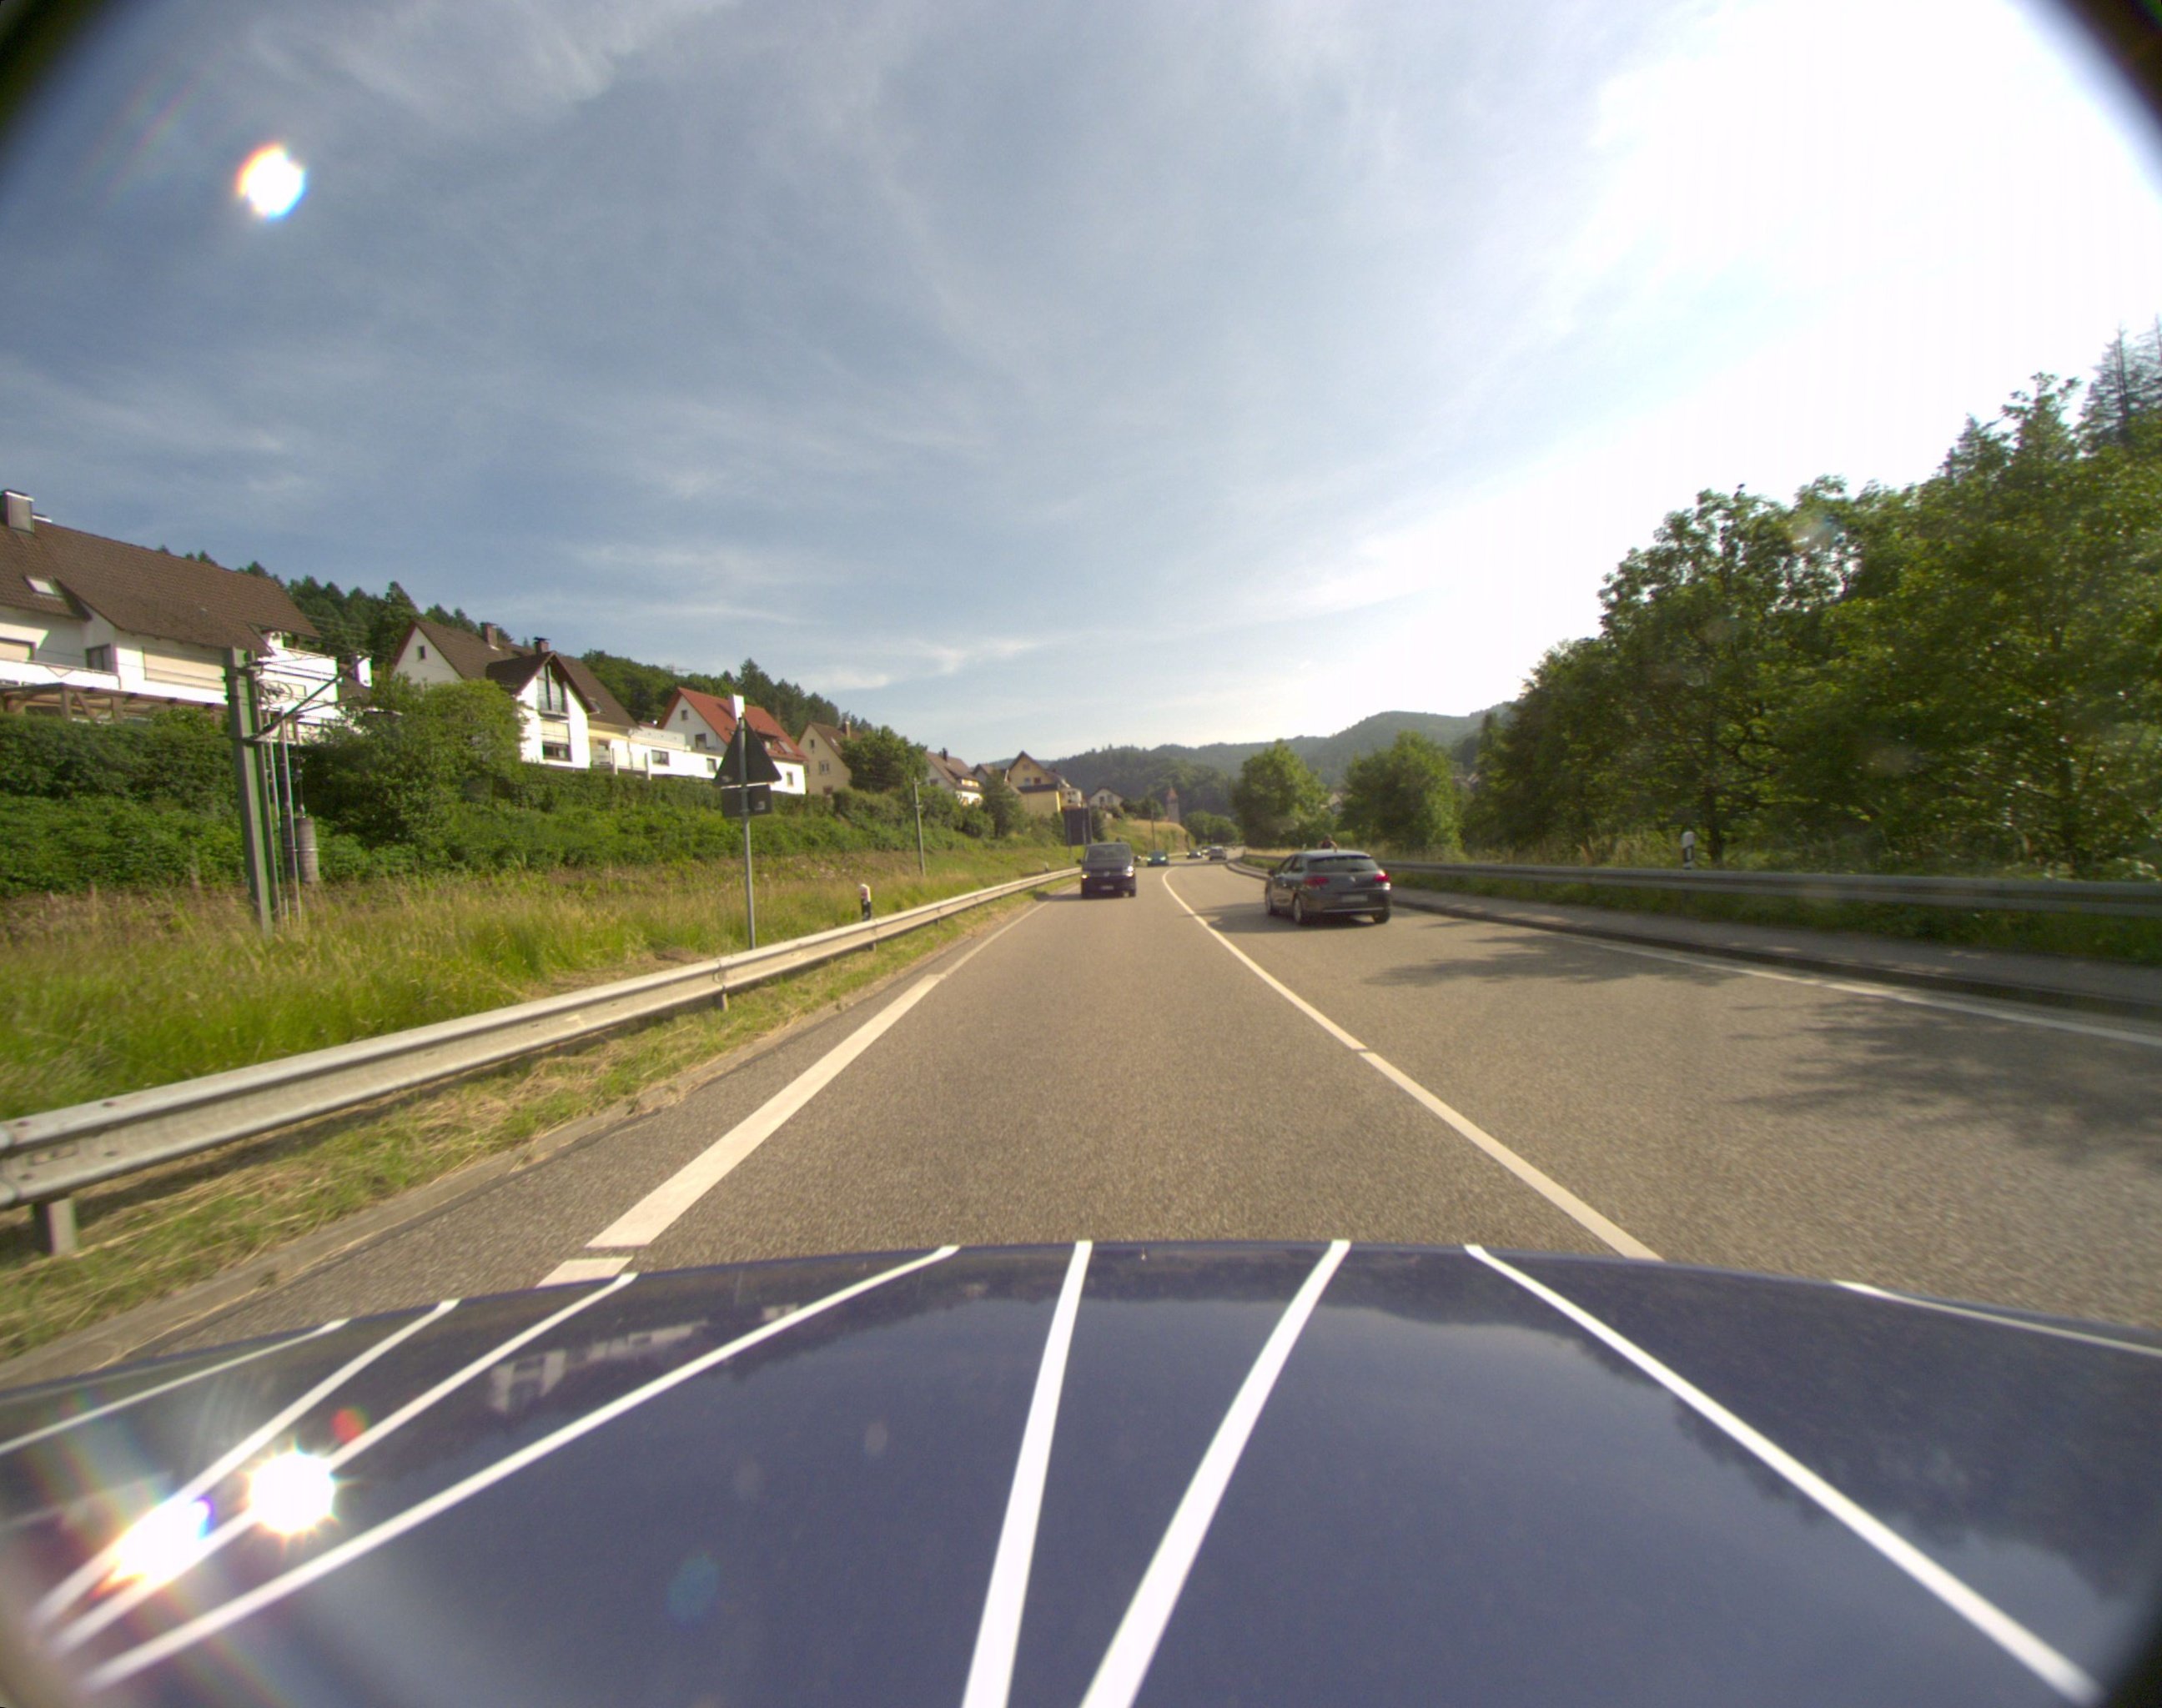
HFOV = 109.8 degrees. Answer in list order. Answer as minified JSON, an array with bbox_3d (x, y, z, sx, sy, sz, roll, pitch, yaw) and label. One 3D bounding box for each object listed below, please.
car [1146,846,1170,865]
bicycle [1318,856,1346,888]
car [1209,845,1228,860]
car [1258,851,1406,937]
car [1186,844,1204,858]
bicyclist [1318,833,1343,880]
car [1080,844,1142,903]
[{"bbox_3d":[7.383,0.114,72.616,1.883,1.735,4.182,-2,0,11],"label":"car"},{"bbox_3d":[8.879,0.609,26.916,0.558,1.039,2.231,-7,-1,11],"label":"bicycle"},{"bbox_3d":[15.838,-0.176,87.608,1.997,1.620,4.002,-2,1,9],"label":"car"},{"bbox_3d":[5.038,0.723,15.859,1.895,1.480,4.000,-2,0,3],"label":"car"},{"bbox_3d":[15.167,-0.389,100.812,1.883,1.735,4.183,-3,0,15],"label":"car"},{"bbox_3d":[8.814,0.087,26.871,0.558,1.577,1.036,-7,-1,11],"label":"bicyclist"},{"bbox_3d":[1.078,0.649,27.626,2.018,1.905,4.312,-2,0,2],"label":"car"}]
